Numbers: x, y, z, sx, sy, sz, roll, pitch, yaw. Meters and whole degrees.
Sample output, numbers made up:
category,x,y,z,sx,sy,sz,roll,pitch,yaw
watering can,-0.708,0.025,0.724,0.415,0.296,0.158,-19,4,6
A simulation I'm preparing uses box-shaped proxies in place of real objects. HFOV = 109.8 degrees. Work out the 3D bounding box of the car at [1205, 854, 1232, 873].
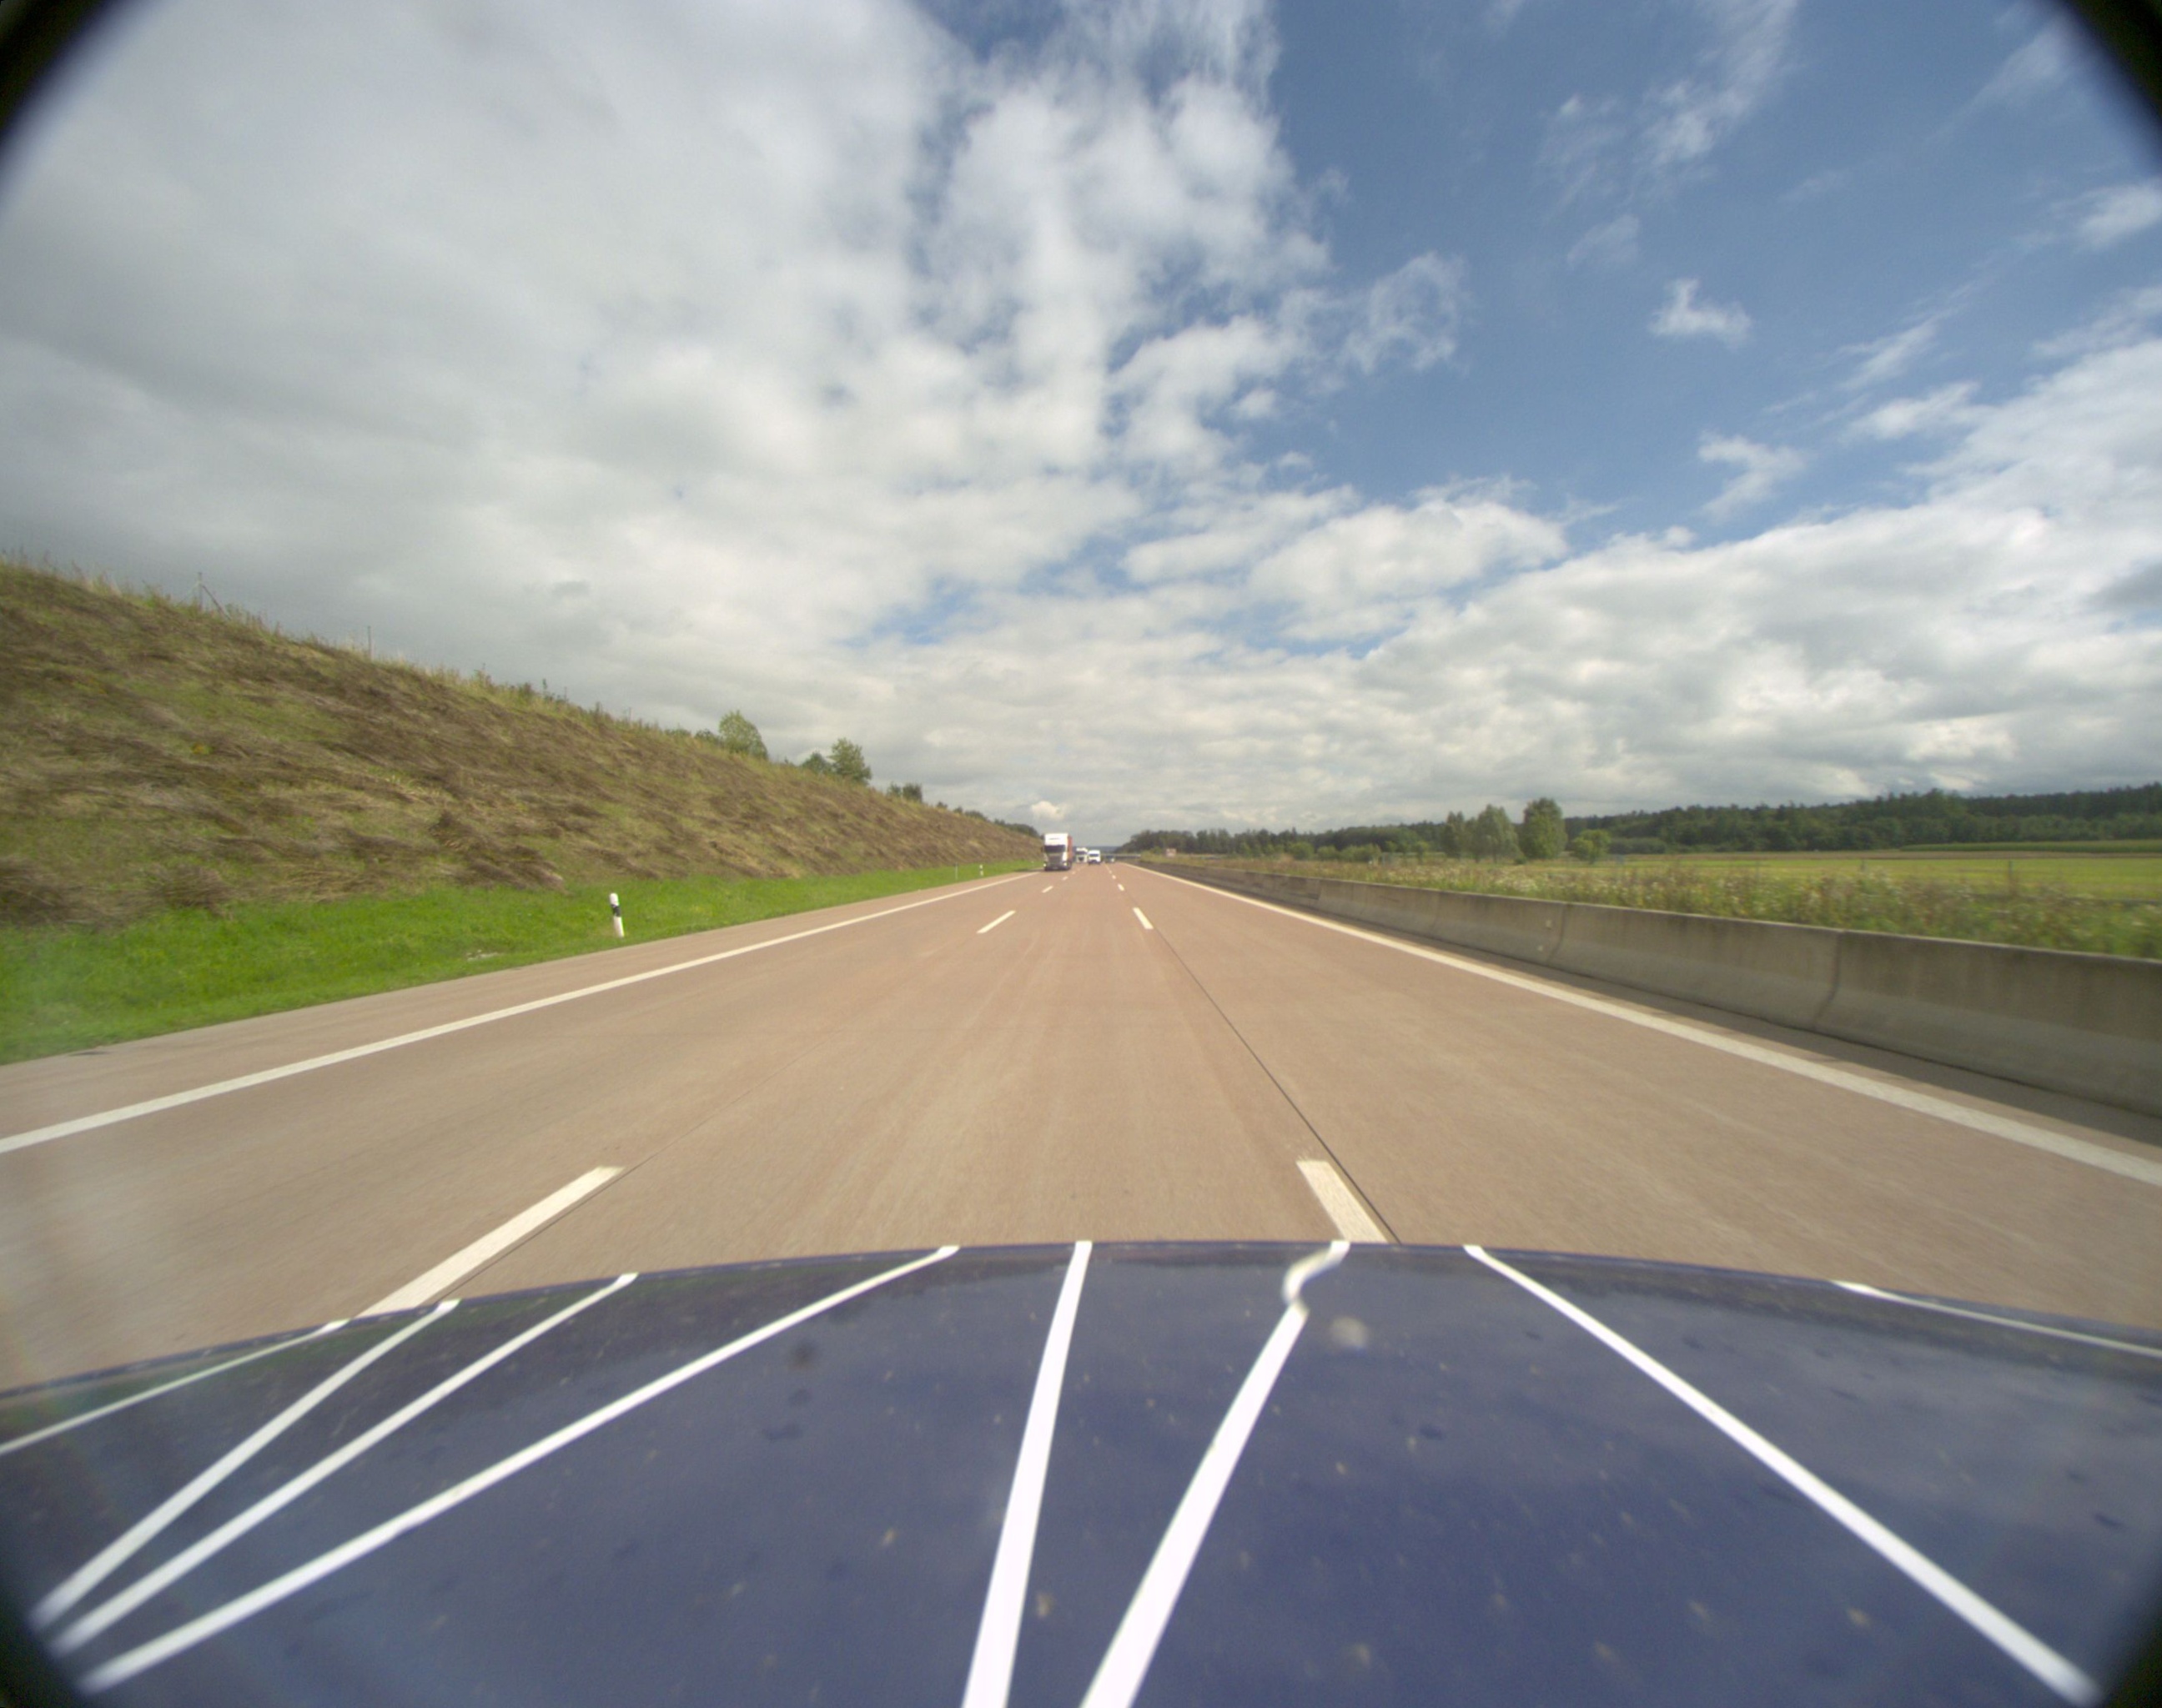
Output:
category,x,y,z,sx,sy,sz,roll,pitch,yaw
car,14.177,0.979,78.611,1.998,1.835,5.275,0,0,1

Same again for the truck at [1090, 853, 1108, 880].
category,x,y,z,sx,sy,sz,roll,pitch,yaw
truck,3.131,2.089,131.165,2.680,4.333,11.809,-2,0,1

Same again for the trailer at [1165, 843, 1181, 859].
category,x,y,z,sx,sy,sz,roll,pitch,yaw
trailer,25.174,-0.713,208.627,3.029,4.239,12.096,-2,0,2

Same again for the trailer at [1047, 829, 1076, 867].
category,x,y,z,sx,sy,sz,roll,pitch,yaw
trailer,-2.200,-0.640,89.641,2.679,4.069,12.790,-1,0,1

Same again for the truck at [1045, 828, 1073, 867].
category,x,y,z,sx,sy,sz,roll,pitch,yaw
truck,-2.349,-0.659,83.778,2.680,4.082,6.616,-1,0,1

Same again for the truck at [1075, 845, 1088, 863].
category,x,y,z,sx,sy,sz,roll,pitch,yaw
truck,0.177,-0.078,192.621,3.107,4.333,11.257,-2,0,1

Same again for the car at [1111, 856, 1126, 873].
category,x,y,z,sx,sy,sz,roll,pitch,yaw
car,7.564,2.053,154.453,2.773,3.260,6.393,-2,0,2
